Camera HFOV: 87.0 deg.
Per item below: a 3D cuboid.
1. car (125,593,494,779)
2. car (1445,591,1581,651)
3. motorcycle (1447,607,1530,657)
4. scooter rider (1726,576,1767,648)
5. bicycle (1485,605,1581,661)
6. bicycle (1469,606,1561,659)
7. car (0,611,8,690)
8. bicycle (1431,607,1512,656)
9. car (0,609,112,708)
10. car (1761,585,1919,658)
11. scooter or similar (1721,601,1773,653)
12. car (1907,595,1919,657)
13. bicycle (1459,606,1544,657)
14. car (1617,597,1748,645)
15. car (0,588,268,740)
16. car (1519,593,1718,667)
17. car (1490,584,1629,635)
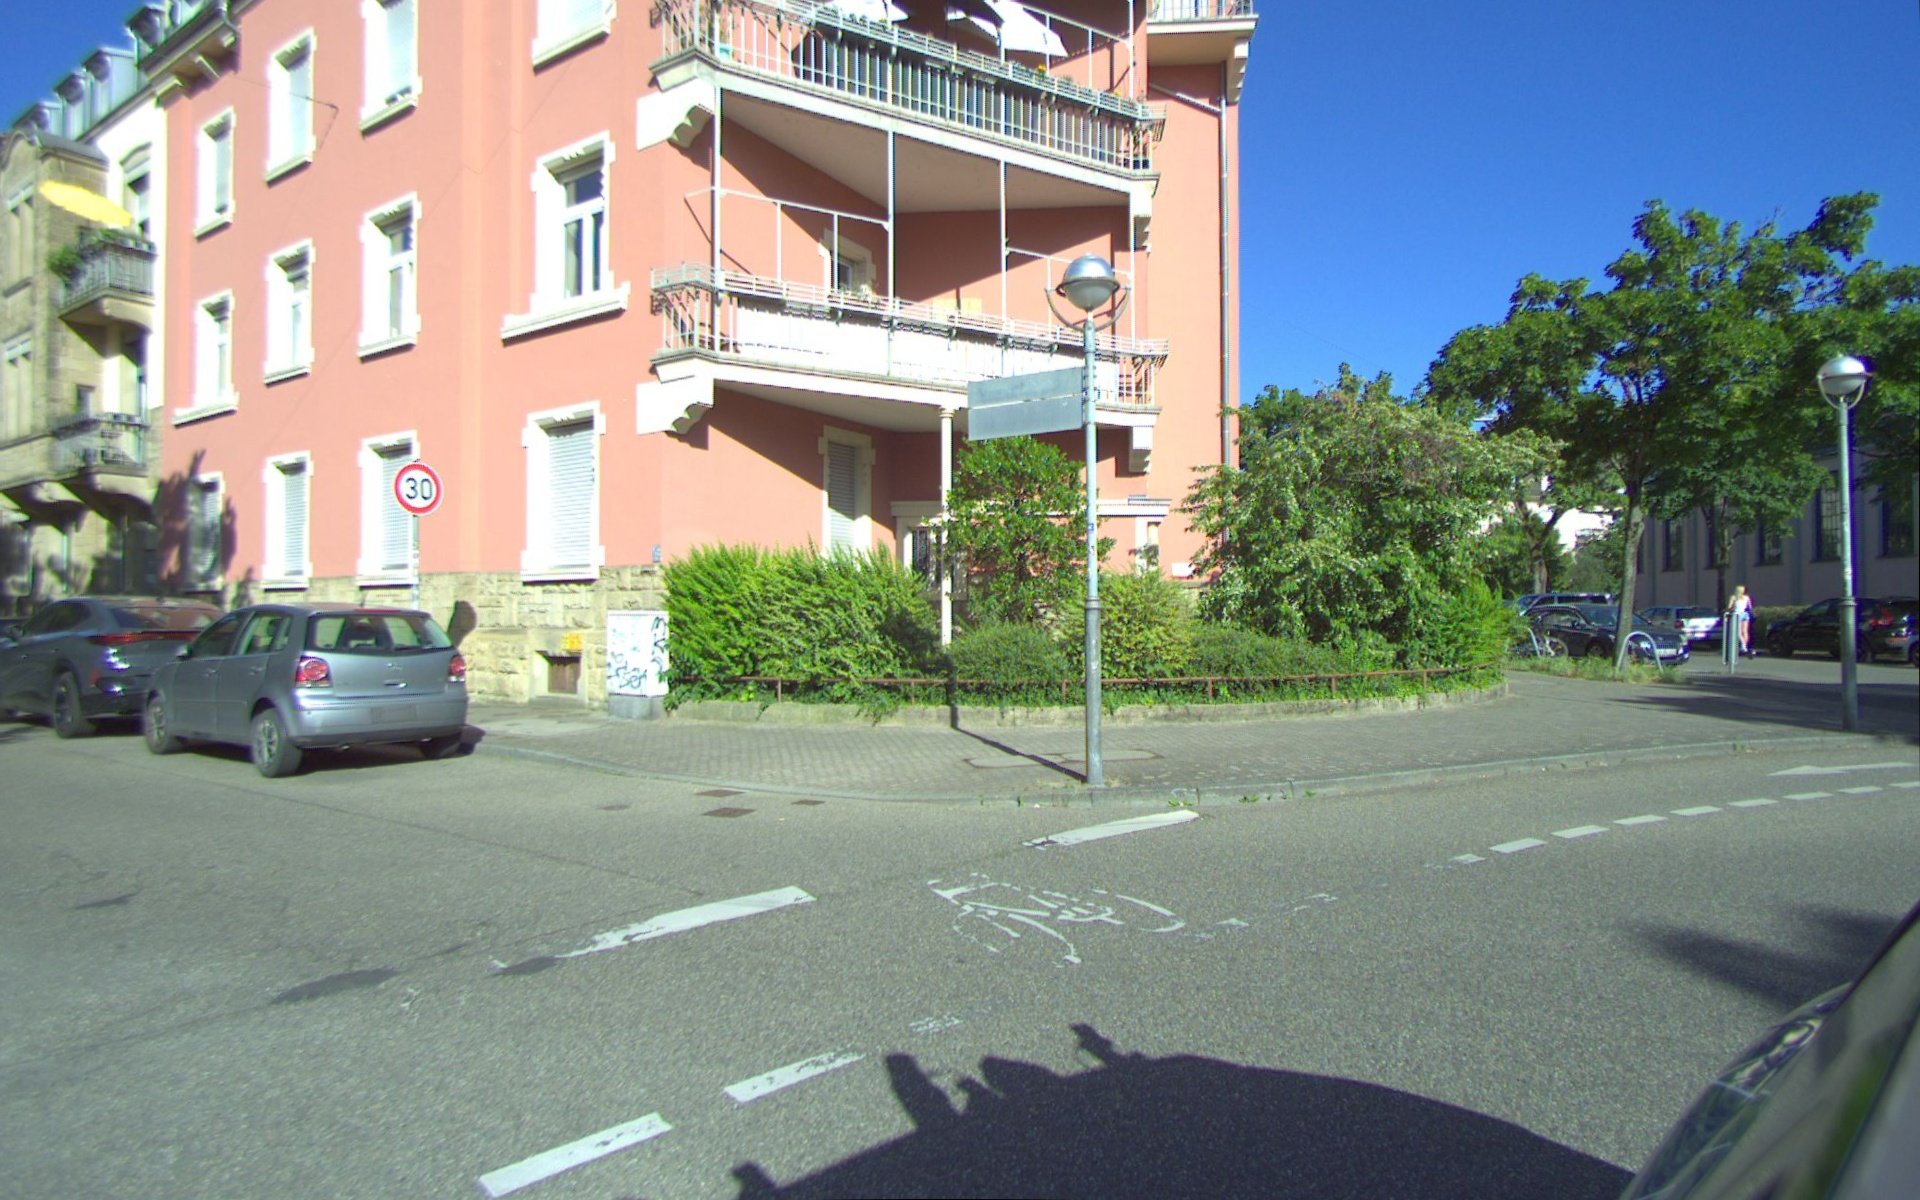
[{"bbox_3d":[-6.269,0.708,9.687,3.520,1.465,1.668,0,-2,33],"label":"car"},{"bbox_3d":[16.225,0.585,29.959,1.777,1.581,4.394,-2,0,4],"label":"car"},{"bbox_3d":[12.615,0.755,24.177,1.693,1.121,0.501,2,0,-1],"label":"motorcycle"},{"bbox_3d":[20.307,0.305,26.139,0.615,1.855,0.629,0,-1,11],"label":"scooter rider"},{"bbox_3d":[12.289,0.692,21.727,1.696,1.129,0.545,2,0,6],"label":"bicycle"},{"bbox_3d":[12.392,0.715,22.614,1.696,1.129,0.545,2,0,6],"label":"bicycle"},{"bbox_3d":[-18.818,0.883,18.255,3.257,1.399,1.668,0,-2,33],"label":"car"},{"bbox_3d":[12.488,0.760,24.735,1.693,1.121,0.501,2,0,-1],"label":"bicycle"},{"bbox_3d":[-14.640,0.837,15.481,3.257,1.399,1.668,0,-2,33],"label":"car"},{"bbox_3d":[23.564,0.547,26.463,1.775,1.750,4.338,1,0,0],"label":"car"},{"bbox_3d":[20.308,0.686,26.131,0.622,1.299,1.102,0,-1,11],"label":"scooter or similar"},{"bbox_3d":[22.989,0.600,21.438,1.775,1.434,4.338,1,0,0],"label":"car"},{"bbox_3d":[12.554,0.718,23.479,1.792,1.121,0.502,2,-1,-10],"label":"bicycle"},{"bbox_3d":[24.442,0.683,34.447,1.779,1.492,4.328,1,0,8],"label":"car"},{"bbox_3d":[-10.426,0.694,12.433,4.263,1.583,1.668,0,-2,33],"label":"car"},{"bbox_3d":[15.438,0.655,24.057,1.775,1.502,4.338,-2,0,0],"label":"car"},{"bbox_3d":[25.051,0.389,42.397,4.689,2.027,1.809,1,-1,1],"label":"car"}]
